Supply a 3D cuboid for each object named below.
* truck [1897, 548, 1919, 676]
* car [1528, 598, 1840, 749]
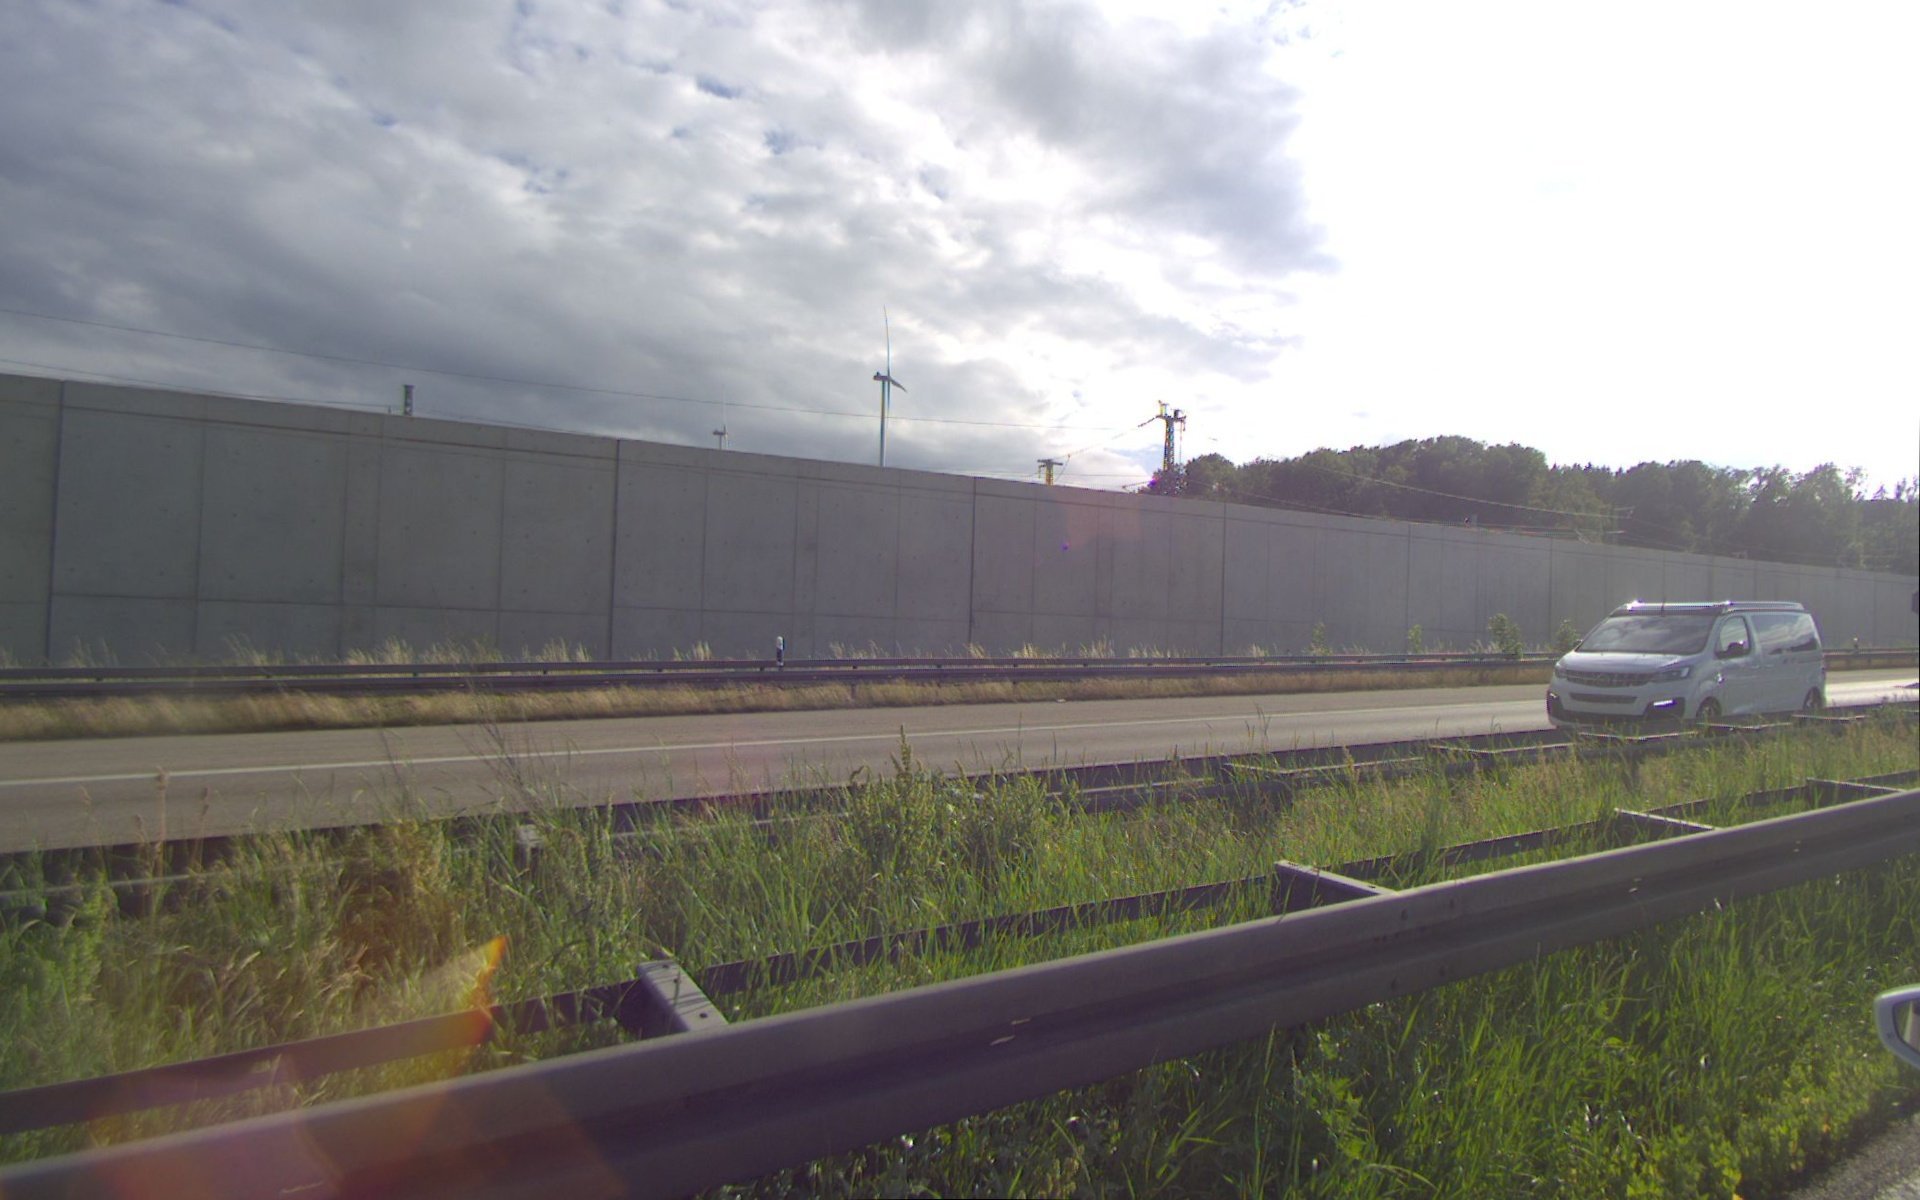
[{"bbox_3d":[34.599,0.497,33.710,6.872,4.144,2.741,2,-1,-31],"label":"truck"},{"bbox_3d":[10.696,1.045,14.779,4.731,1.908,1.984,2,-3,-30],"label":"car"}]
